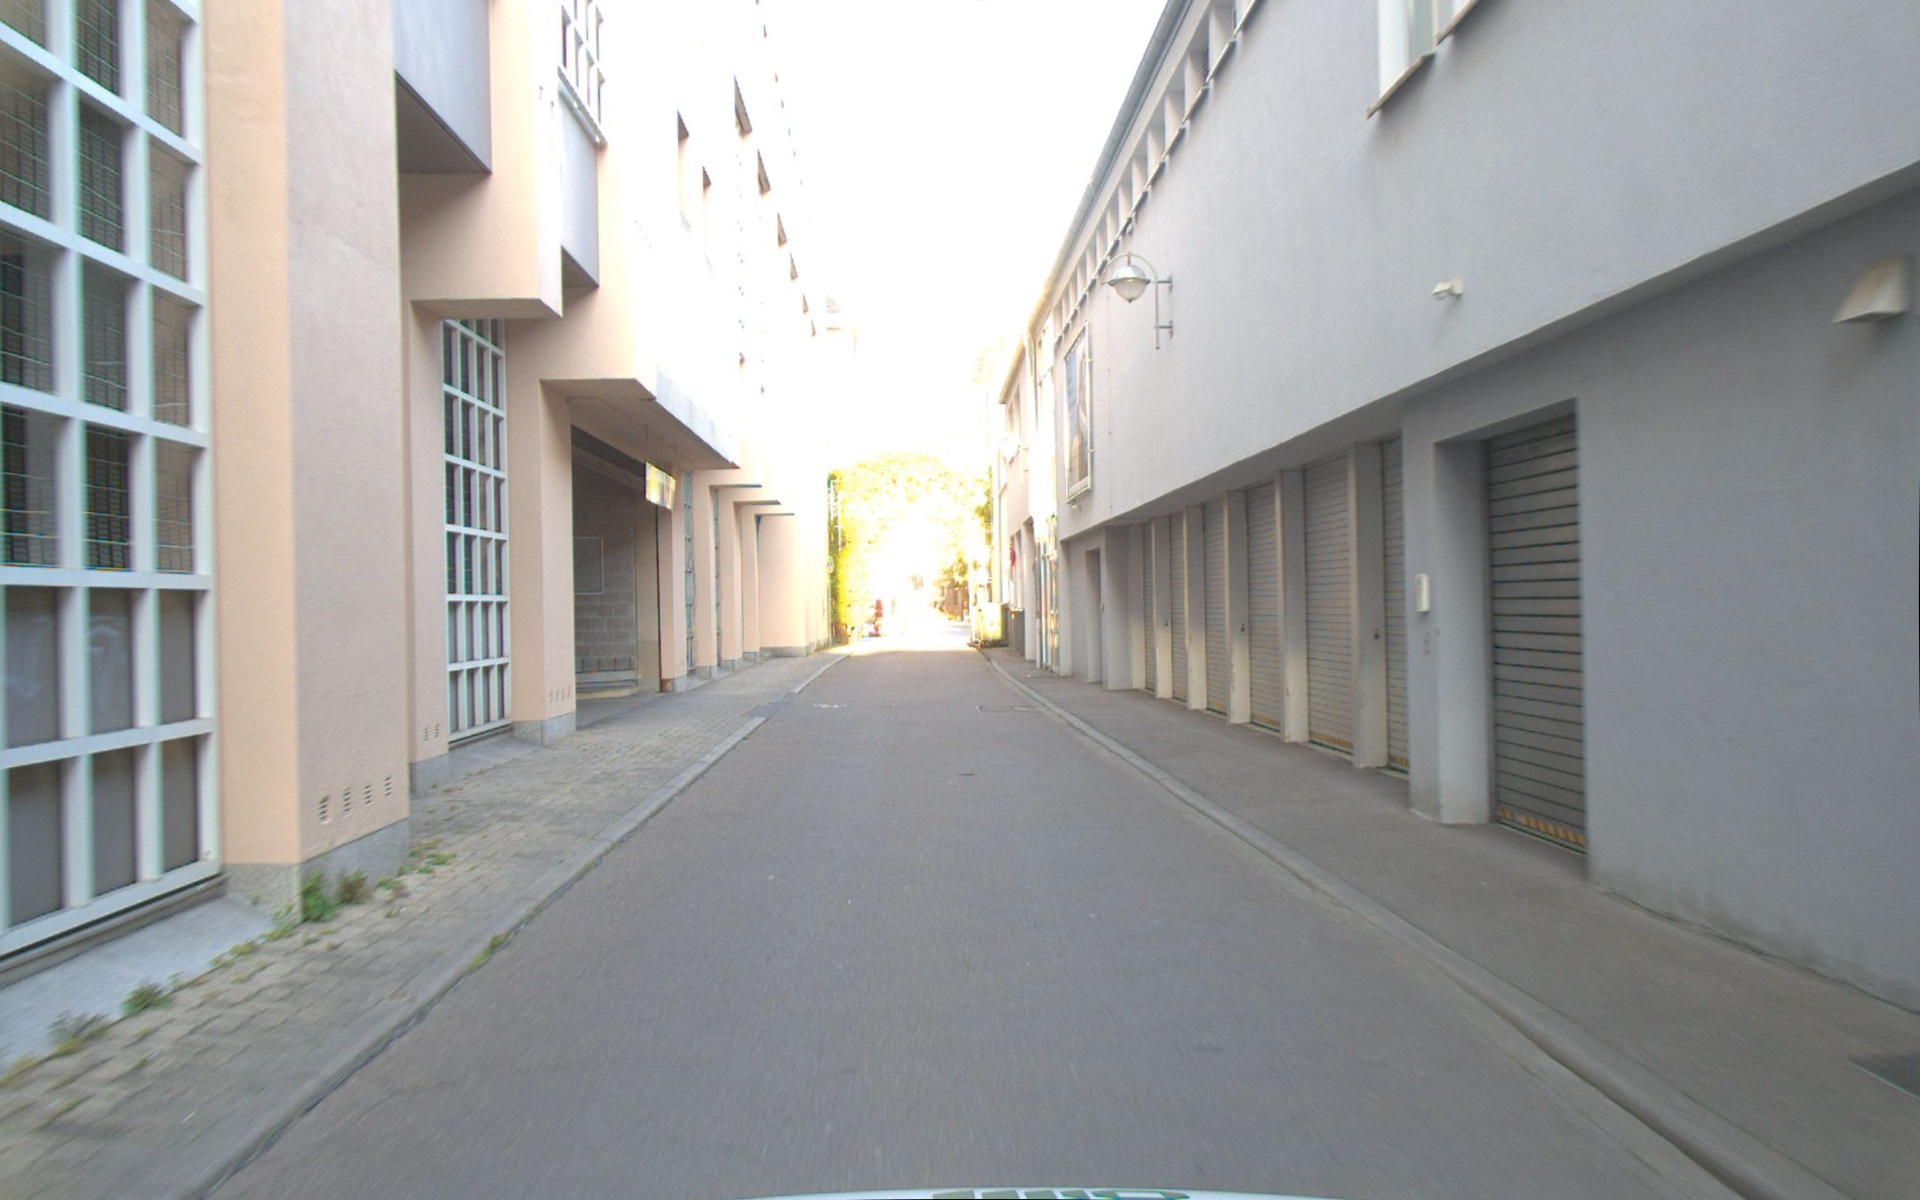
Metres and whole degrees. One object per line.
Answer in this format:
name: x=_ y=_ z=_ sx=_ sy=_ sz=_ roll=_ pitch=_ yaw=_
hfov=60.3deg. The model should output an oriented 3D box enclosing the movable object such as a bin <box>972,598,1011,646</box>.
movable object such as a bin: x=0.974 y=0.683 z=51.444 sx=0.920 sy=1.390 sz=1.340 roll=-3 pitch=0 yaw=-8
